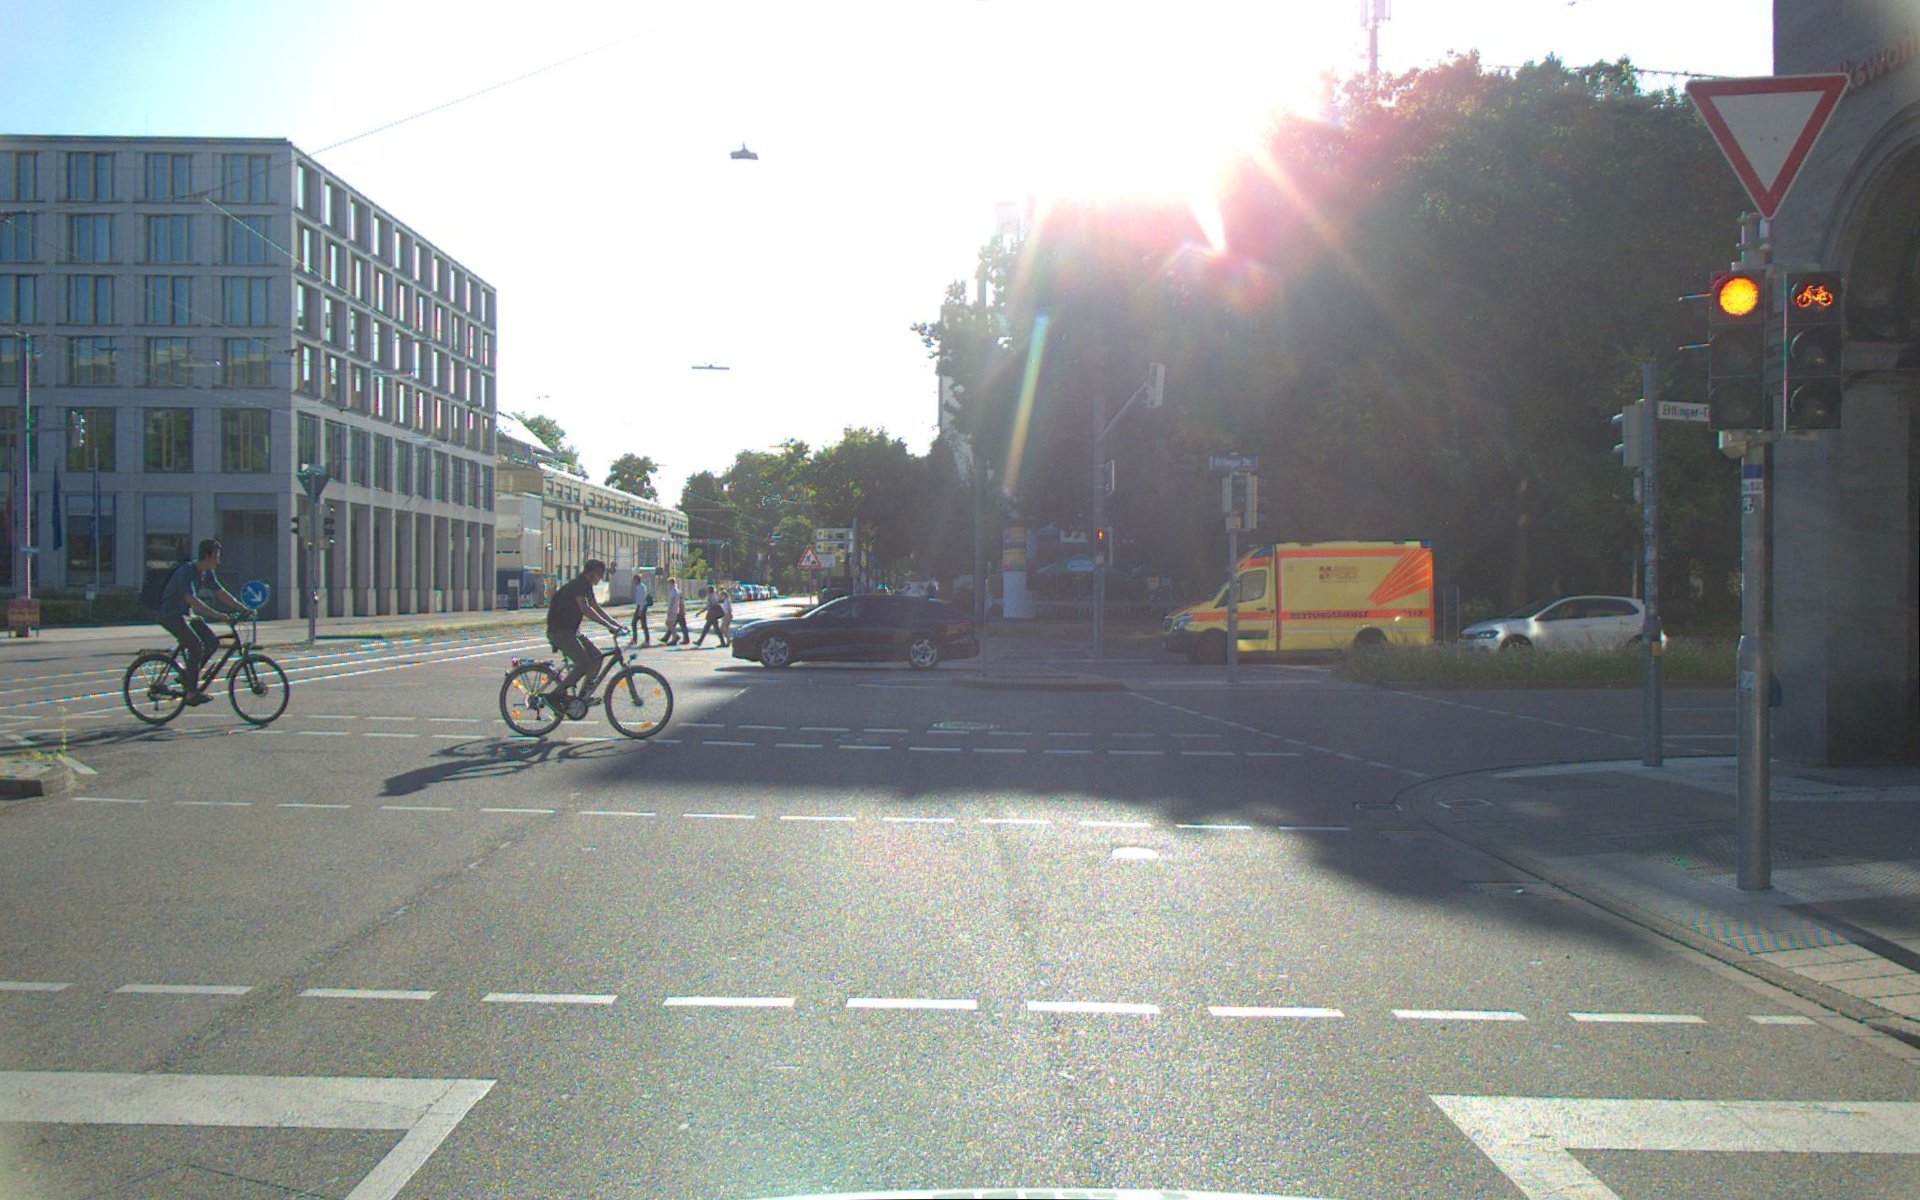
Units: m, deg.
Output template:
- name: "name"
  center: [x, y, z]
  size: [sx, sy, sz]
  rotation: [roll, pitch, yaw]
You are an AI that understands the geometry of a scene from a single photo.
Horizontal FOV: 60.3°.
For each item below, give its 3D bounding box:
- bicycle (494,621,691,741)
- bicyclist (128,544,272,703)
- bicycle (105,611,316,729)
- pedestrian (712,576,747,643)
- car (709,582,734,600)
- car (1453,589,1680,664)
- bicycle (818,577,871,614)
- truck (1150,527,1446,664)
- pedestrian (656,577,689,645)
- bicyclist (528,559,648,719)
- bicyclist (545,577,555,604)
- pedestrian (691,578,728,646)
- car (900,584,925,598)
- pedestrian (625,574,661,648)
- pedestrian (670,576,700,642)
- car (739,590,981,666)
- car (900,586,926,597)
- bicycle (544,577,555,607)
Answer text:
- name: "bicycle"
  center: [-3.680, 0.803, 16.650]
  size: [1.775, 1.104, 0.767]
  rotation: [1, 2, 3]
- name: "bicyclist"
  center: [-7.918, 0.231, 17.268]
  size: [1.100, 1.622, 0.767]
  rotation: [0, 1, 4]
- name: "bicycle"
  center: [-7.800, 0.720, 17.262]
  size: [1.833, 1.178, 0.767]
  rotation: [0, 1, 3]
- name: "pedestrian"
  center: [-6.362, 0.249, 45.616]
  size: [0.851, 1.835, 0.532]
  rotation: [0, 0, 4]
- name: "car"
  center: [-22.487, -0.840, 156.184]
  size: [1.856, 1.635, 4.498]
  rotation: [0, 0, -3]
- name: "car"
  center: [12.165, 0.527, 33.318]
  size: [3.961, 1.459, 1.631]
  rotation: [0, -1, -2]
- name: "bicycle"
  center: [-5.675, -0.237, 81.421]
  size: [2.495, 1.774, 1.037]
  rotation: [1, 0, -1]
- name: "truck"
  center: [7.760, -0.104, 38.556]
  size: [6.336, 3.068, 2.725]
  rotation: [0, 0, -1]
- name: "pedestrian"
  center: [-7.861, 0.296, 45.241]
  size: [0.723, 1.835, 0.716]
  rotation: [0, 0, 4]
- name: "bicyclist"
  center: [-3.730, 0.374, 16.643]
  size: [0.981, 1.538, 0.767]
  rotation: [1, 2, 3]
- name: "bicyclist"
  center: [-32.295, -0.758, 130.279]
  size: [0.559, 2.059, 0.761]
  rotation: [0, 0, -2]
- name: "pedestrian"
  center: [-6.792, 0.317, 44.937]
  size: [0.852, 1.835, 0.664]
  rotation: [0, 0, 4]
- name: "car"
  center: [-6.111, -1.154, 213.388]
  size: [3.152, 1.616, 1.445]
  rotation: [1, 0, -5]
- name: "pedestrian"
  center: [-8.446, 0.279, 44.045]
  size: [0.785, 1.951, 0.637]
  rotation: [0, 0, 4]
- name: "pedestrian"
  center: [-7.690, 0.247, 46.237]
  size: [0.723, 1.835, 0.532]
  rotation: [0, 0, 4]
- name: "car"
  center: [-1.936, 0.571, 32.871]
  size: [4.639, 1.440, 1.999]
  rotation: [1, -2, -1]
- name: "car"
  center: [-5.980, -1.054, 211.090]
  size: [3.155, 1.285, 1.371]
  rotation: [1, 0, -6]
- name: "bicycle"
  center: [-32.291, -0.661, 130.252]
  size: [0.559, 2.336, 1.422]
  rotation: [0, 0, -2]
